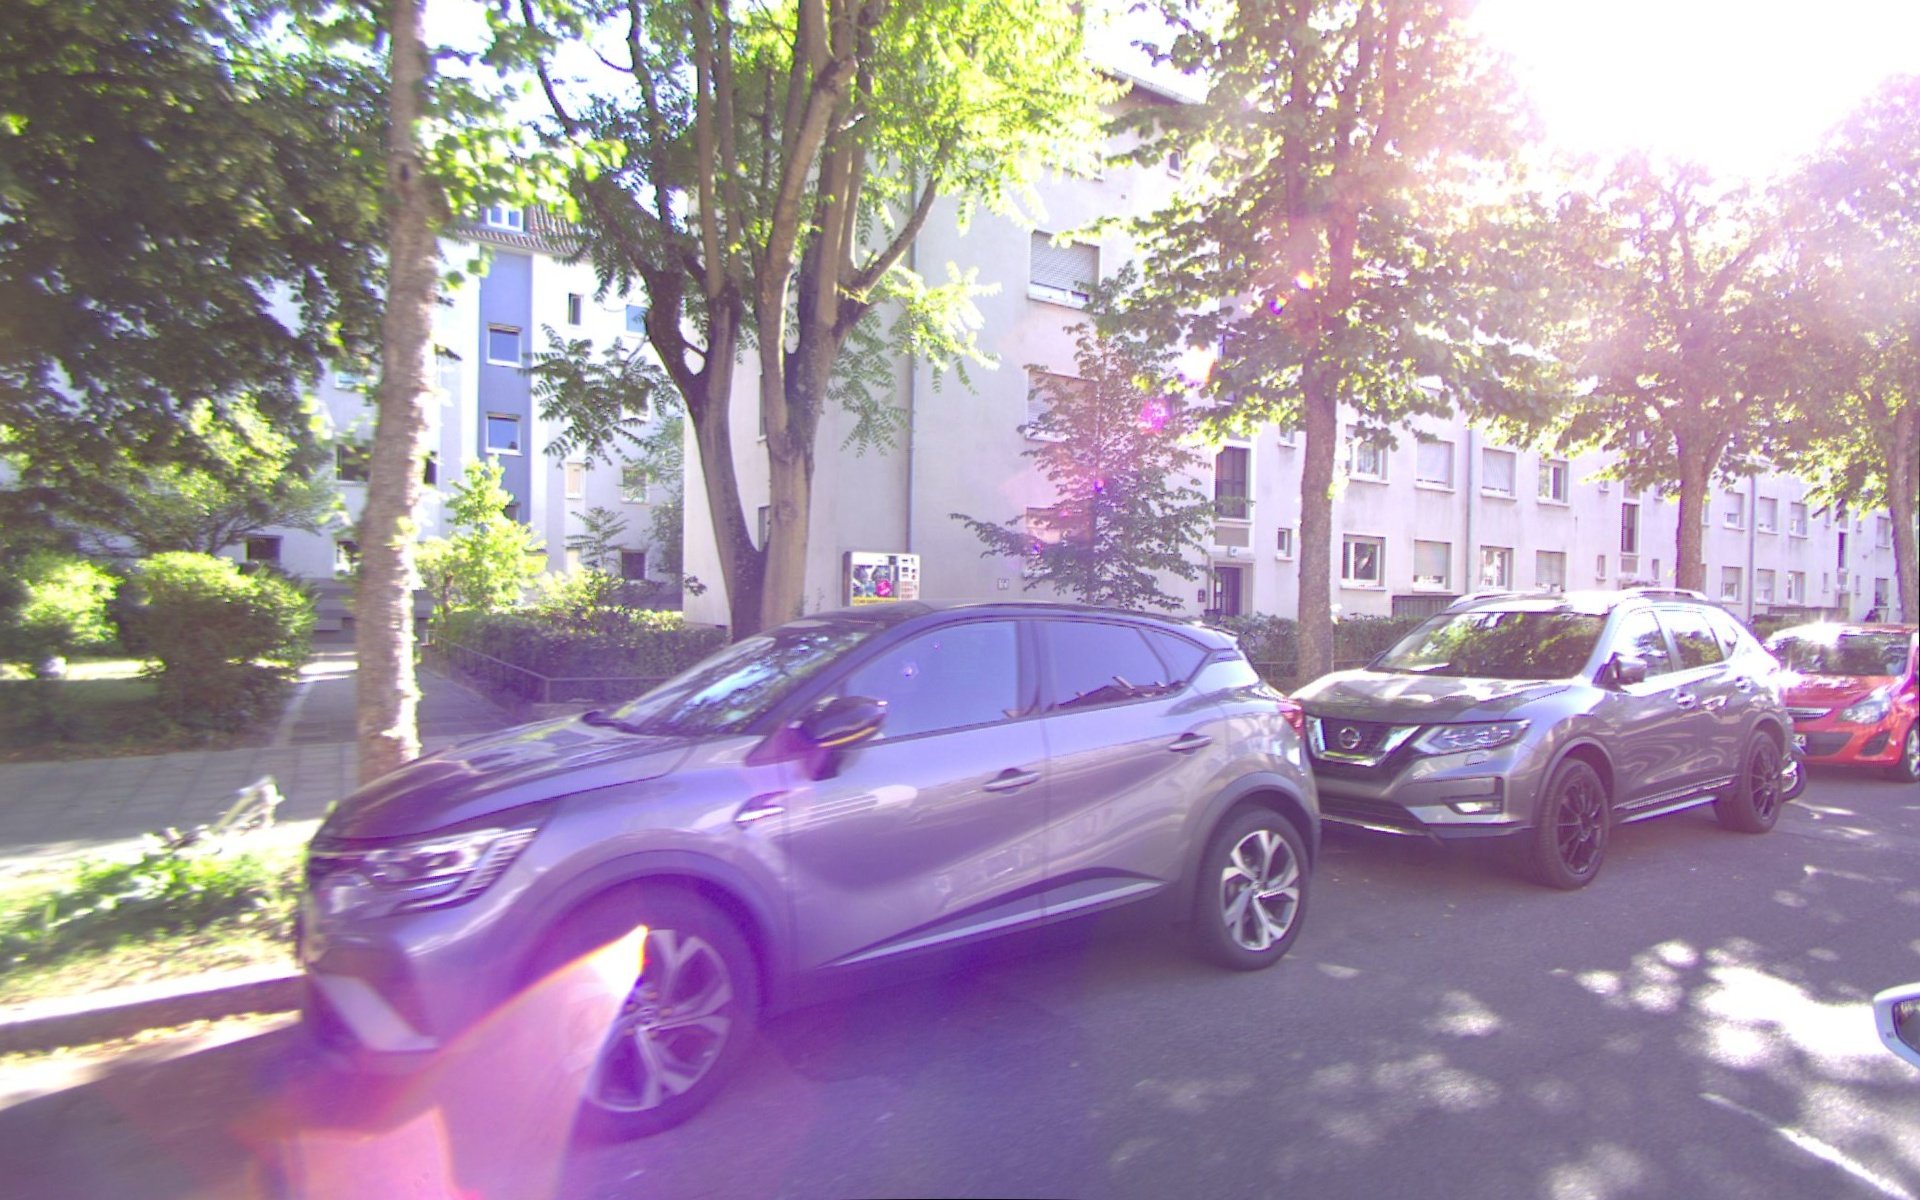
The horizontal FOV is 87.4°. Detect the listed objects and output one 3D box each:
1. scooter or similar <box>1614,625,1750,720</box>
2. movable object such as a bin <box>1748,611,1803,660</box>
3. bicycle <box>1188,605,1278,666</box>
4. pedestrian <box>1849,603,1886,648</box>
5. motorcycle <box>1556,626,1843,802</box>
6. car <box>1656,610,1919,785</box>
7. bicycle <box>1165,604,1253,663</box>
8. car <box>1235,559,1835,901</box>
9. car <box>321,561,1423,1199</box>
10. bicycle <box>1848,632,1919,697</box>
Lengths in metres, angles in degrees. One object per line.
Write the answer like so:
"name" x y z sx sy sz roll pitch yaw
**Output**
"scooter or similar" 9.910 0.989 13.813 1.484 1.251 0.556 1 0 -3
"movable object such as a bin" 22.921 0.989 28.236 1.367 1.341 0.922 1 0 -38
"bicycle" 5.684 0.725 20.877 1.889 1.217 0.682 1 0 -31
"pedestrian" 39.348 1.108 43.555 0.862 1.939 0.783 1 0 -6
"motorcycle" 6.516 0.927 8.991 0.776 1.350 1.948 1 0 -24
"car" 9.358 0.881 10.604 4.136 1.489 1.846 1 0 -32
"bicycle" 5.333 0.708 21.487 1.889 1.217 0.682 1 0 -31
"car" 4.245 0.690 7.105 4.763 1.710 1.757 1 -1 -34
"car" -0.133 0.705 4.338 4.370 1.552 1.759 1 0 -32
"bicycle" 16.732 1.130 17.908 2.063 1.029 0.528 1 7 -27
